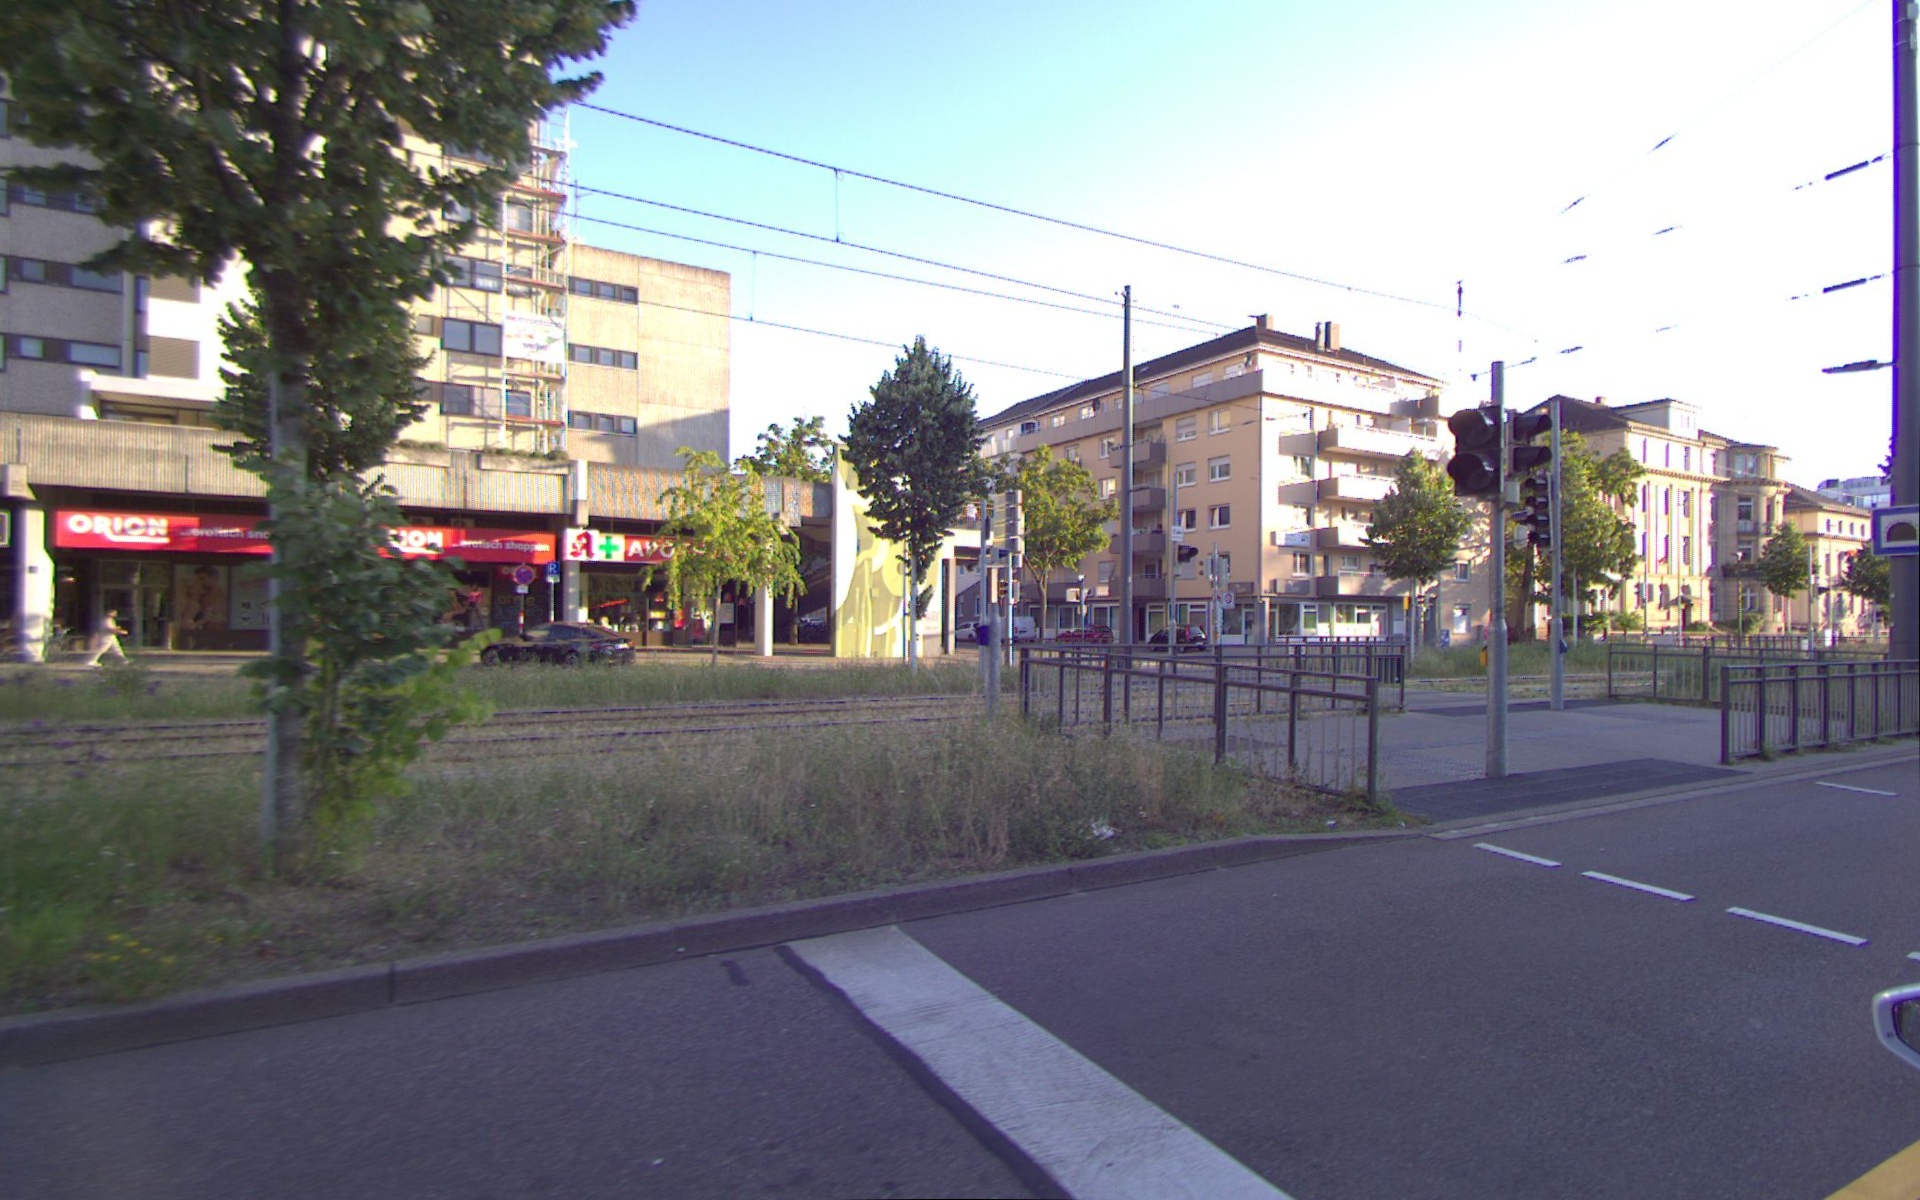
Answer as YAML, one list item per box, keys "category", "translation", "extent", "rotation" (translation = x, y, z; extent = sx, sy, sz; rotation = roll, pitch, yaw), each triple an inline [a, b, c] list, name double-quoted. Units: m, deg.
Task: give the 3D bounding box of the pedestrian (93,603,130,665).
- category: "pedestrian"
  translation: [-23.588, 0.934, 27.927]
  extent: [0.653, 1.683, 0.661]
  rotation: [1, 1, -29]

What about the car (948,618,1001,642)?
- category: "car"
  translation: [1.035, 2.262, 76.054]
  extent: [2.092, 1.779, 4.307]
  rotation: [1, -1, -31]

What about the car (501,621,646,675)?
- category: "car"
  translation: [-11.223, 1.350, 29.247]
  extent: [3.656, 1.469, 1.744]
  rotation: [0, -1, 18]

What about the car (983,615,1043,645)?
- category: "car"
  translation: [3.725, 2.104, 71.191]
  extent: [2.142, 2.016, 4.464]
  rotation: [1, -1, -31]

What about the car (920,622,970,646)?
- category: "car"
  translation: [-1.223, 2.702, 80.121]
  extent: [2.092, 1.779, 4.307]
  rotation: [1, -1, -31]

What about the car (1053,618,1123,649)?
- category: "car"
  translation: [8.097, 2.138, 63.966]
  extent: [2.143, 1.792, 4.305]
  rotation: [-1, -3, -33]

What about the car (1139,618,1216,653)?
- category: "car"
  translation: [12.240, 1.987, 56.734]
  extent: [2.166, 1.870, 3.914]
  rotation: [1, -1, -31]
